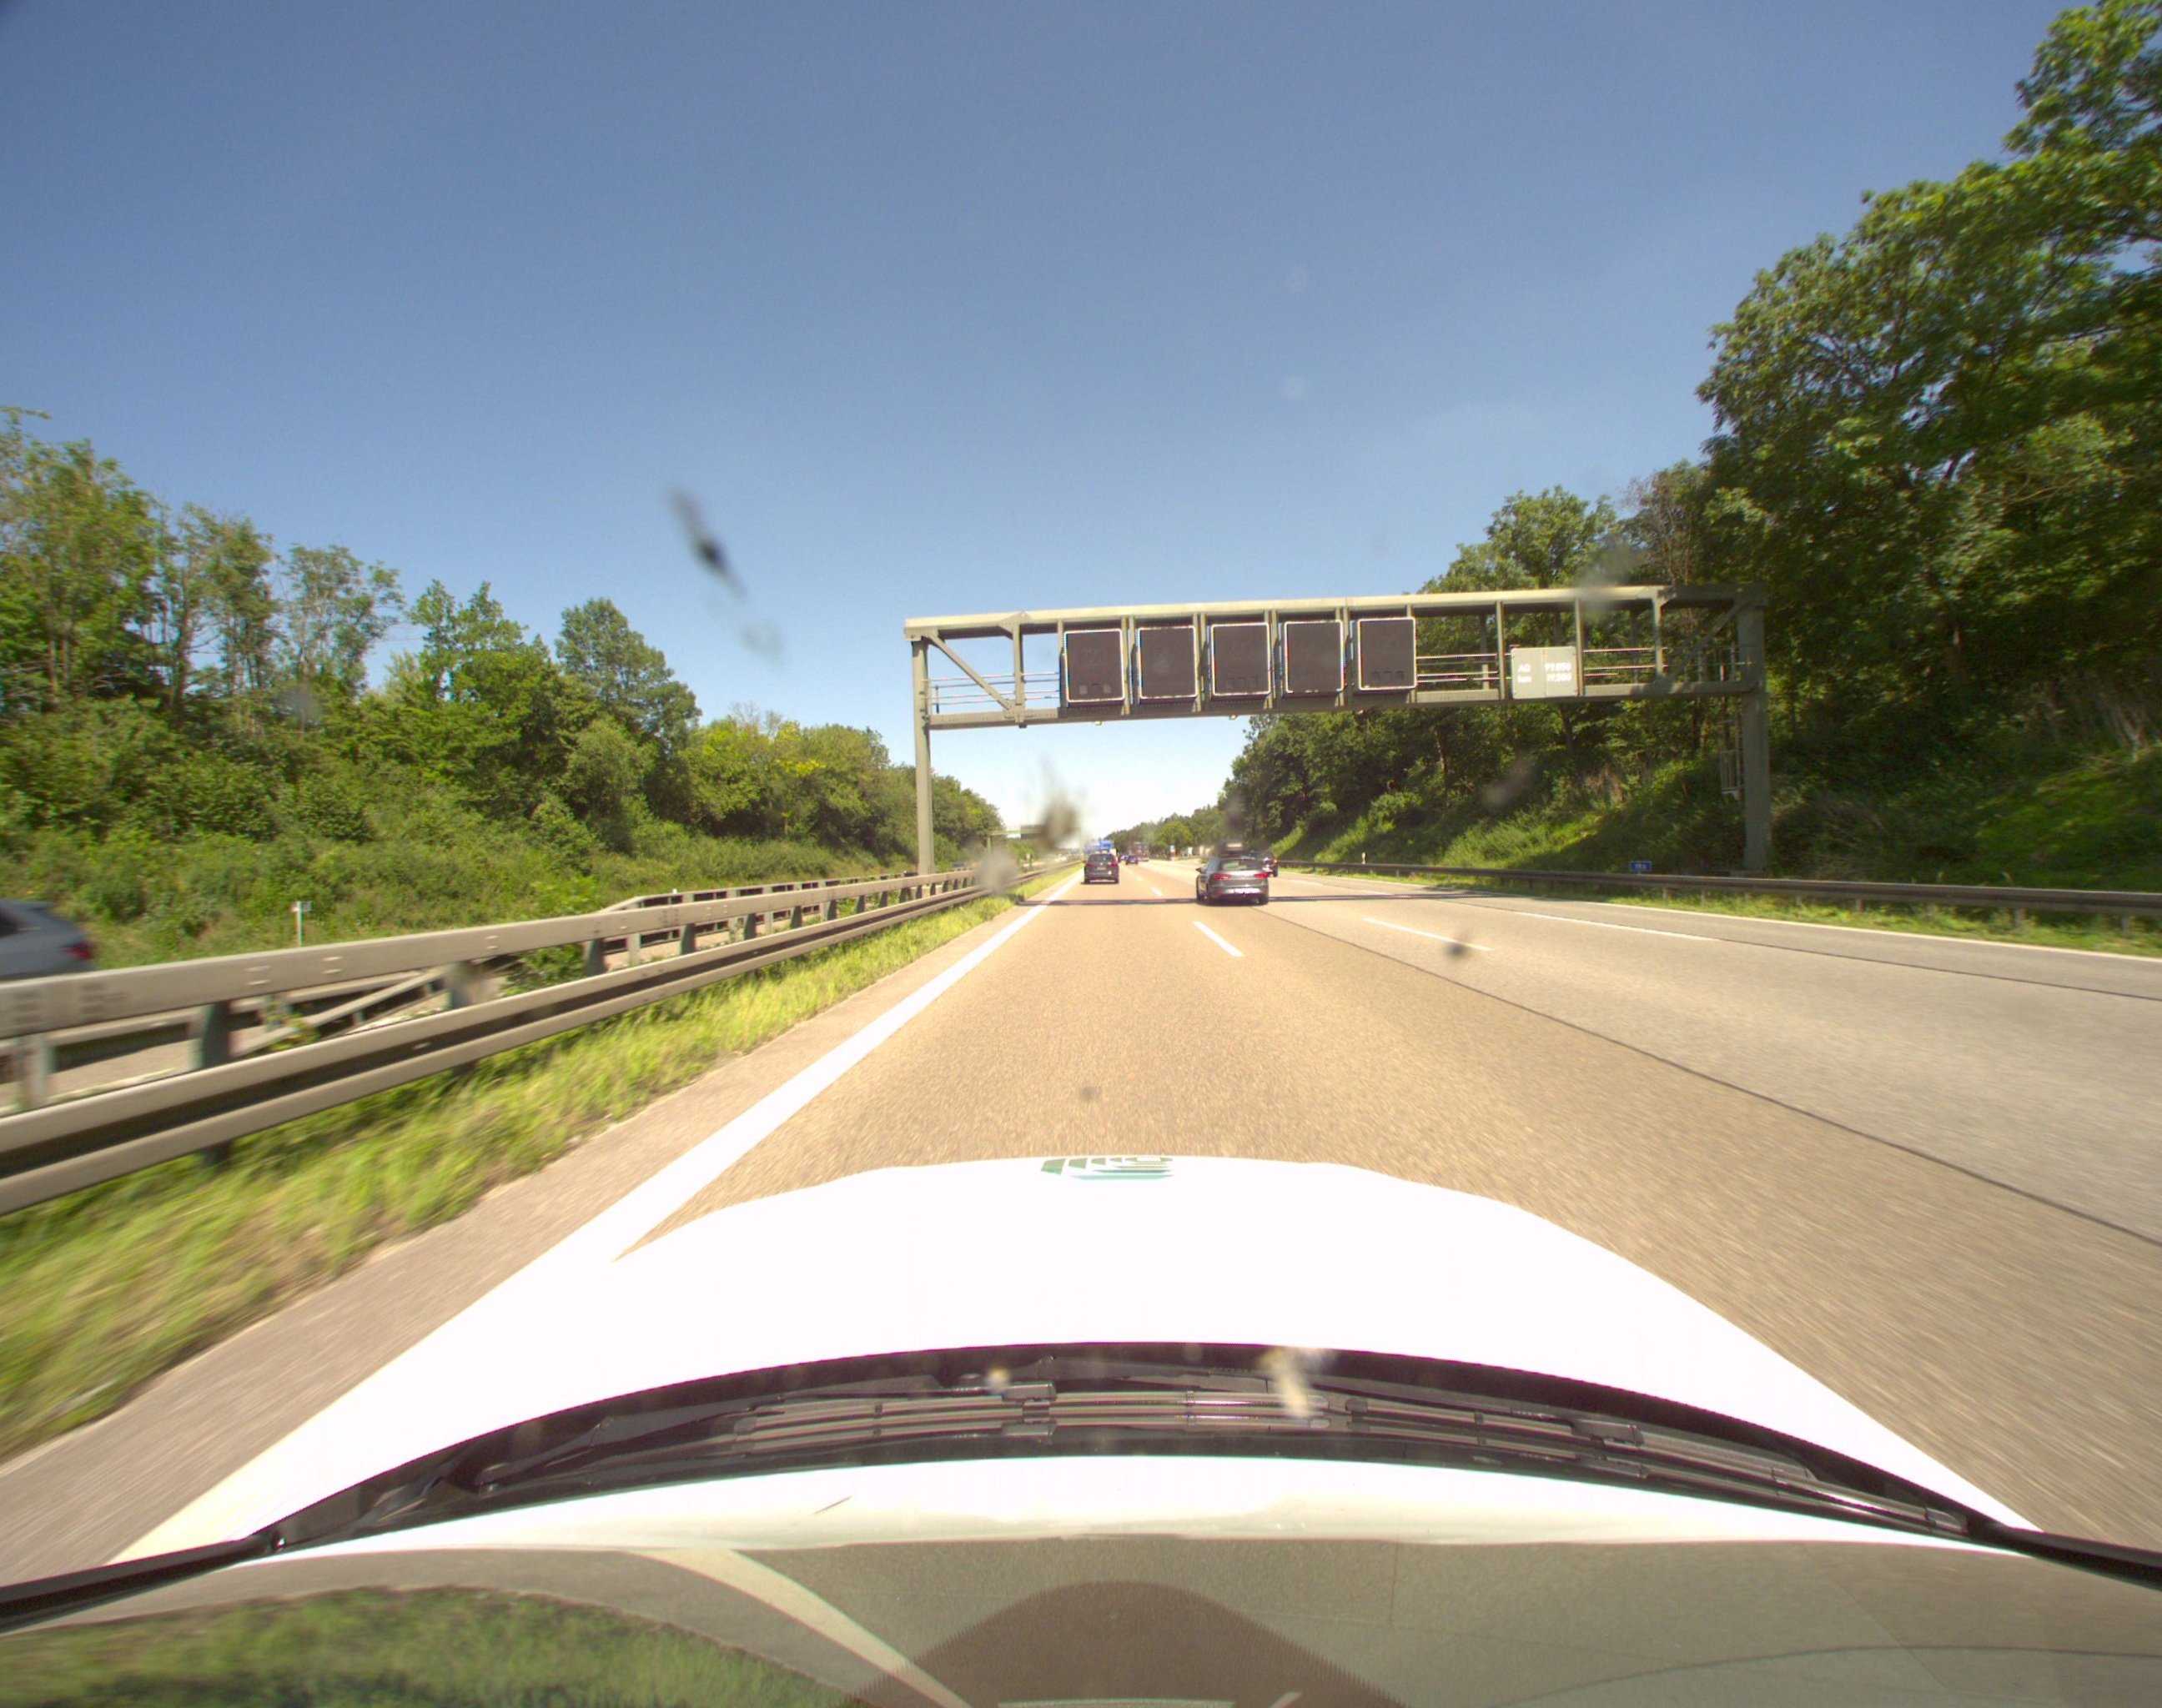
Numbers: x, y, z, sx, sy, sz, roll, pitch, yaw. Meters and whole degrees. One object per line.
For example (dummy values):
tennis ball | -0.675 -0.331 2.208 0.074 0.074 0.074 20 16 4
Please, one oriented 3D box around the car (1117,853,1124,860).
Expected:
car | 8.326 0.551 172.868 1.466 1.398 3.411 1 0 1

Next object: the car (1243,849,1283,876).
car | 11.045 0.518 49.741 1.757 1.568 4.262 0 0 4

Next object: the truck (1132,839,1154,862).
truck | 12.789 -0.688 170.437 3.767 4.422 14.053 -1 0 1

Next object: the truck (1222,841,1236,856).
truck | 39.851 -1.418 218.536 3.263 3.947 9.381 -2 0 12

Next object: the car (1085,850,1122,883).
car | 1.218 0.620 43.133 1.791 1.669 4.262 0 0 4

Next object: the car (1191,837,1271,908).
car | 4.432 0.498 24.713 1.658 1.876 4.830 -3 0 2

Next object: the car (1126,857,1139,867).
car | 7.505 1.205 118.444 1.757 1.381 4.262 0 0 4

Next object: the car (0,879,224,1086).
car | -9.592 1.091 6.086 1.755 1.618 4.233 -2 0 2

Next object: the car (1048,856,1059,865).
car | -5.452 1.302 160.478 1.805 1.617 3.916 -4 0 2
